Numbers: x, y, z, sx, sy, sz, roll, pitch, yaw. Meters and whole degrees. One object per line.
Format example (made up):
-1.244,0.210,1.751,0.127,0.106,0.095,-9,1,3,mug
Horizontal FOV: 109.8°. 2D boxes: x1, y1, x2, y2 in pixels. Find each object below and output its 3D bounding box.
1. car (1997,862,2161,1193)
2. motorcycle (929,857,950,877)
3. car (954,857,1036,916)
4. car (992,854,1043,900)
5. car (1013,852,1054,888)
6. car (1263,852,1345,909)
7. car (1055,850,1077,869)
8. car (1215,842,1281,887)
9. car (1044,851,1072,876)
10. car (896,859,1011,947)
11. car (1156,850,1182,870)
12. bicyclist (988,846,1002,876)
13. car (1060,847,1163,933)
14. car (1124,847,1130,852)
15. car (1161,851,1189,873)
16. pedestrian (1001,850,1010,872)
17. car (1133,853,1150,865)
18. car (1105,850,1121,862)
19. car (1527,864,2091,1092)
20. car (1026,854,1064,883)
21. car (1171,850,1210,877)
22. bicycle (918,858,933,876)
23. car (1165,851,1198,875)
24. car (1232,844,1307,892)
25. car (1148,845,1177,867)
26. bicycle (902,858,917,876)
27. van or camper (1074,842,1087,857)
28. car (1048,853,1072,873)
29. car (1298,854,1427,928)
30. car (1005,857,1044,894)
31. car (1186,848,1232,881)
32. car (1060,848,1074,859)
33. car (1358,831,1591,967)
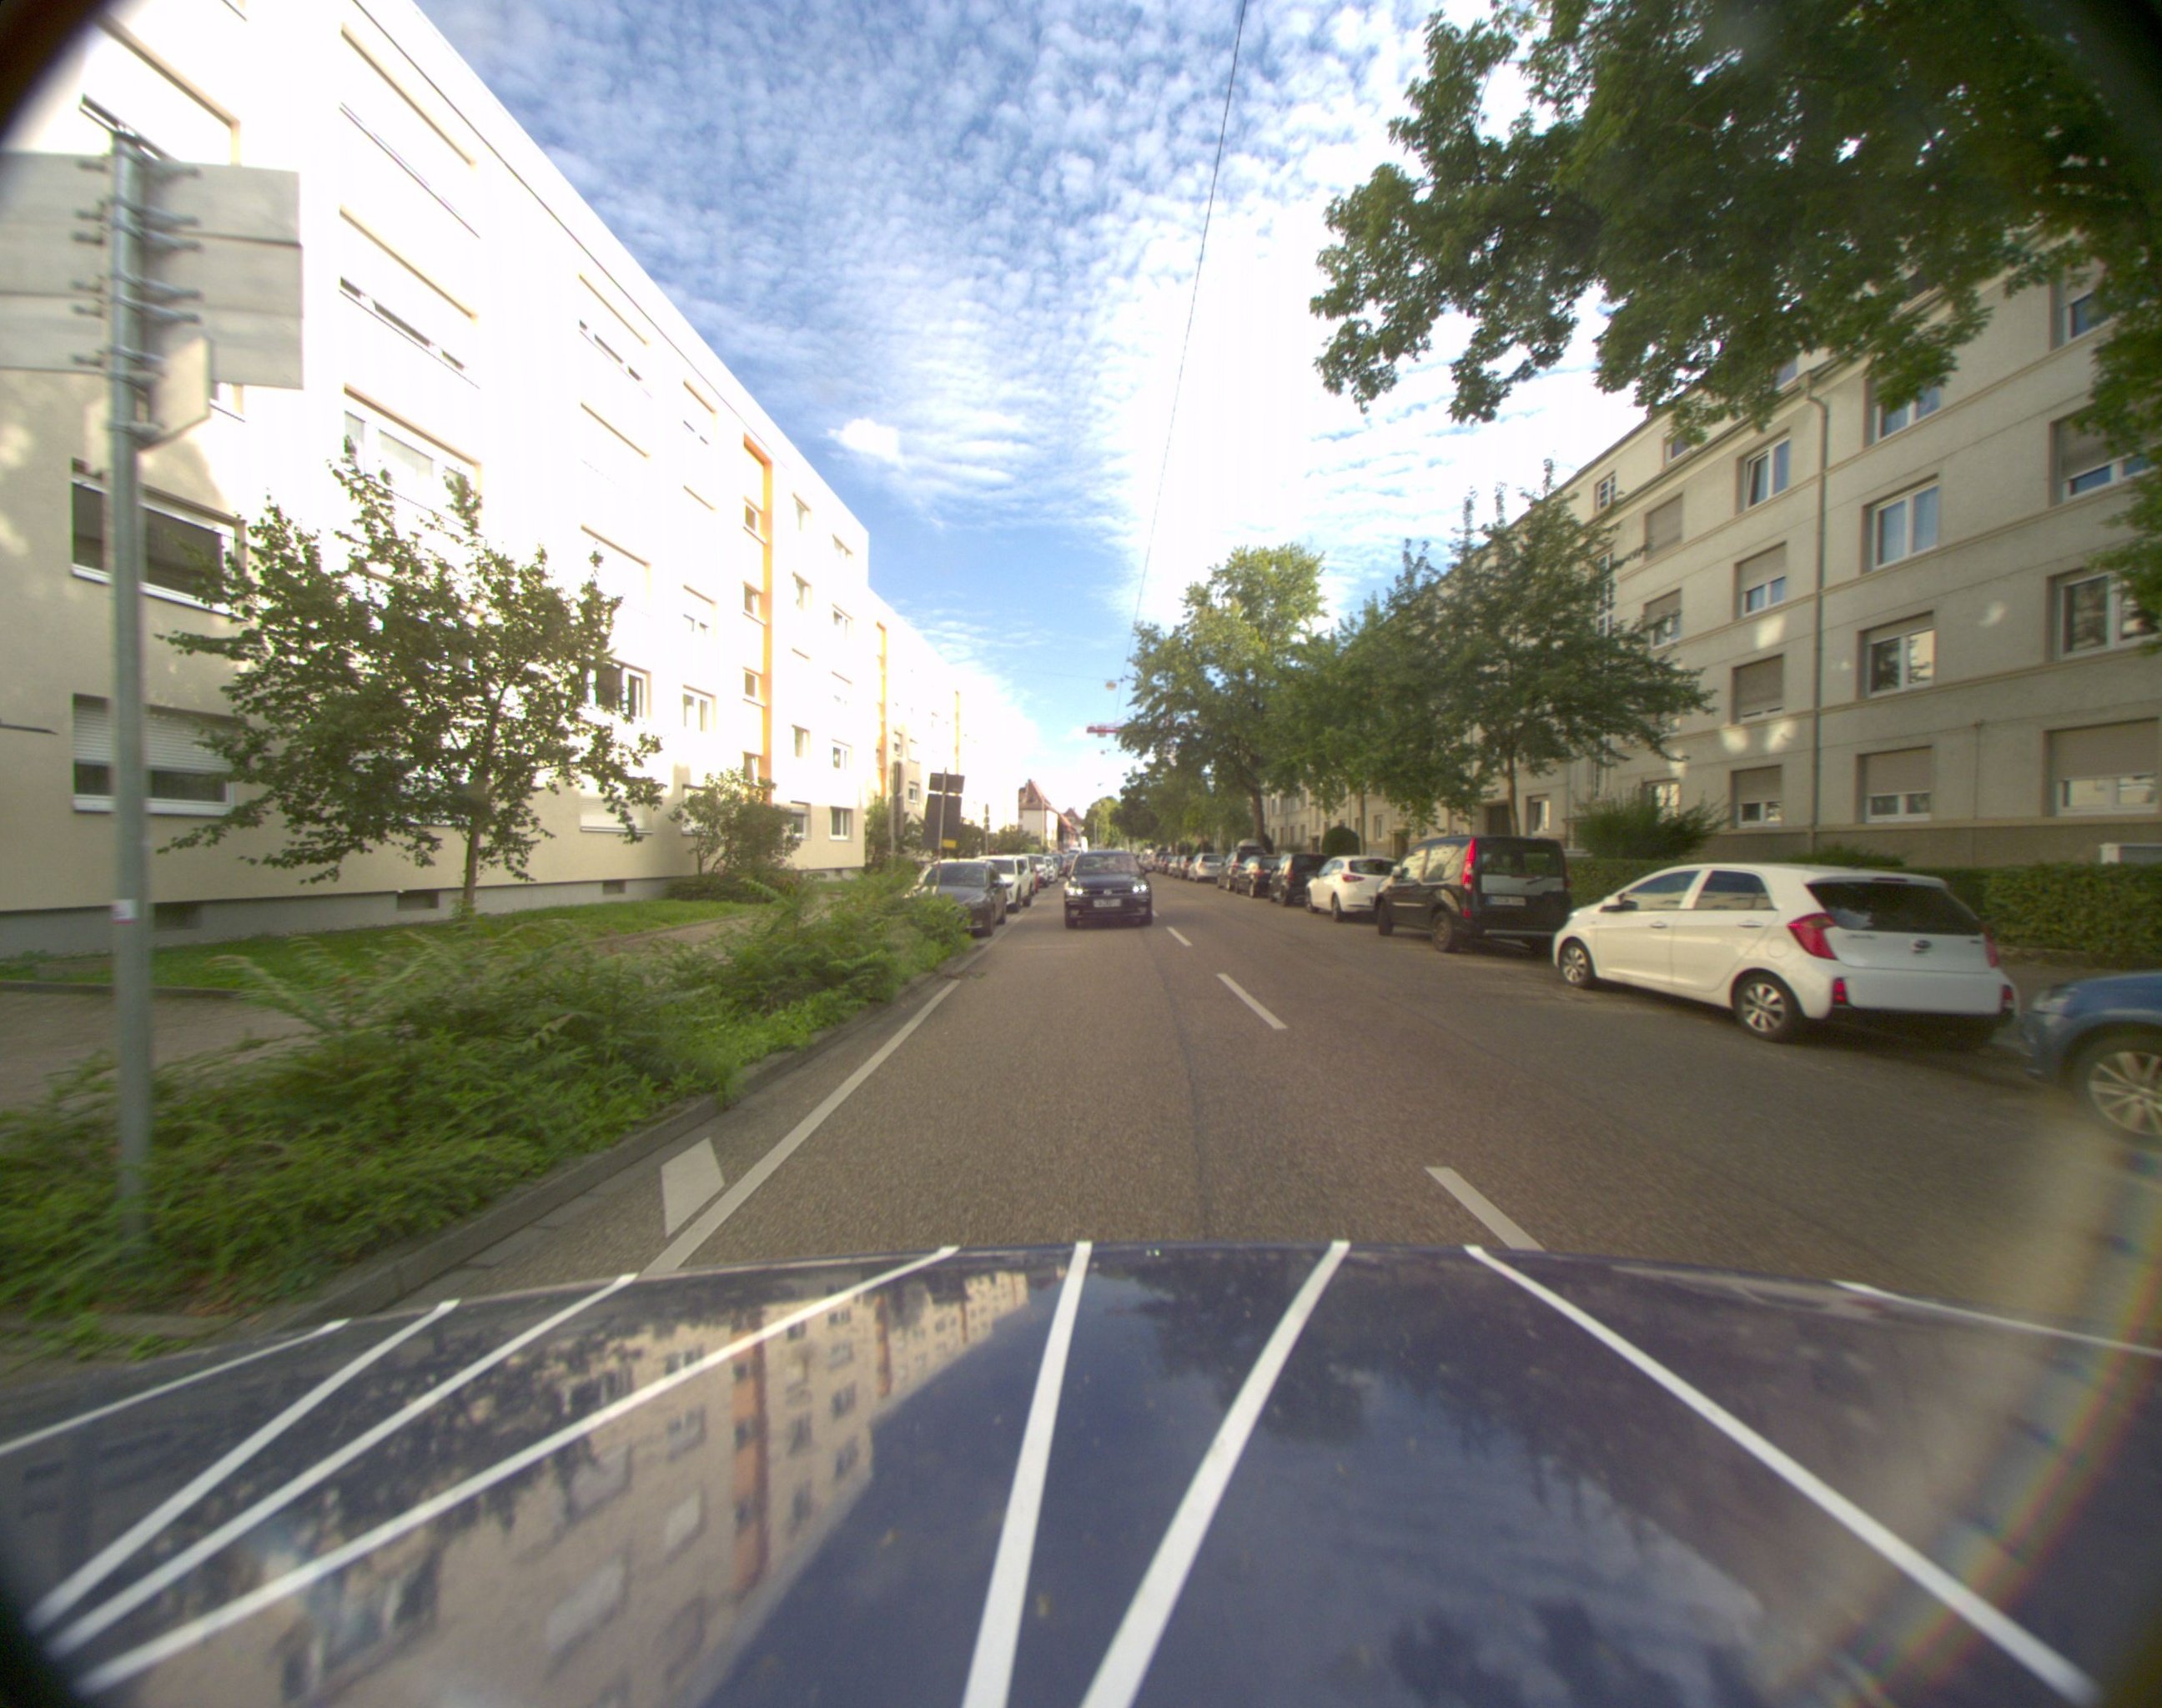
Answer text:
6.239,0.900,2.483,1.804,1.611,3.802,2,0,-1,car
-7.608,0.695,40.980,0.632,1.038,2.393,1,0,0,motorcycle
-2.400,0.869,22.220,1.693,1.519,4.238,0,0,3,car
-2.308,0.808,28.207,1.555,1.548,3.468,1,0,0,car
-2.269,0.744,37.101,1.733,1.571,4.116,1,1,-1,car
6.474,0.727,22.338,1.556,1.511,3.016,2,0,2,car
-1.294,0.432,63.143,1.733,1.506,4.189,1,1,-2,car
6.831,0.388,31.519,1.803,1.658,4.482,2,0,2,car
-1.608,0.635,53.773,1.733,1.640,4.116,2,1,1,car
-2.506,0.907,15.854,1.694,1.519,4.237,1,0,0,car
7.032,0.438,61.113,1.689,1.472,4.119,3,1,2,car
-4.703,0.380,41.618,0.625,1.668,0.893,0,1,0,bicyclist
0.556,0.702,17.132,1.860,1.673,3.998,-1,0,-4,car
14.917,-1.483,248.346,1.834,1.659,4.084,0,0,1,car
6.885,0.568,56.065,1.689,1.472,4.452,3,1,4,car
-5.889,0.526,58.975,0.543,1.711,0.771,0,1,6,pedestrian
7.702,0.622,97.218,1.860,1.477,4.798,4,1,1,car
3.905,0.241,93.047,1.863,1.520,4.011,0,0,2,car
6.305,0.909,7.330,1.803,1.485,3.803,2,0,2,car
-1.958,0.753,43.029,1.732,1.479,4.641,1,1,2,car
6.520,0.545,45.626,1.618,1.460,4.013,3,0,-1,car
-8.515,0.714,41.622,0.460,0.936,1.517,1,1,0,bicycle
6.637,0.545,50.469,1.604,1.410,3.963,3,1,-1,car
6.437,0.444,26.320,1.704,1.478,3.848,2,0,2,car
7.087,0.186,66.542,1.882,1.782,4.970,2,0,0,car
-9.347,0.709,41.536,0.460,0.921,1.517,1,1,0,bicycle
-0.090,-0.760,130.916,2.165,2.512,5.913,2,1,0,van or camper
-1.578,0.647,58.262,1.733,1.452,4.116,1,1,0,car
6.461,0.766,17.950,1.698,1.484,4.333,2,0,4,car
-2.357,0.882,32.342,1.519,1.390,3.674,1,1,-3,car
6.821,0.546,40.866,1.743,1.611,3.994,2,0,-1,car
-2.109,-0.113,112.475,1.767,1.515,4.330,-1,0,3,car
6.303,0.621,12.793,1.727,1.871,4.191,2,0,1,car
